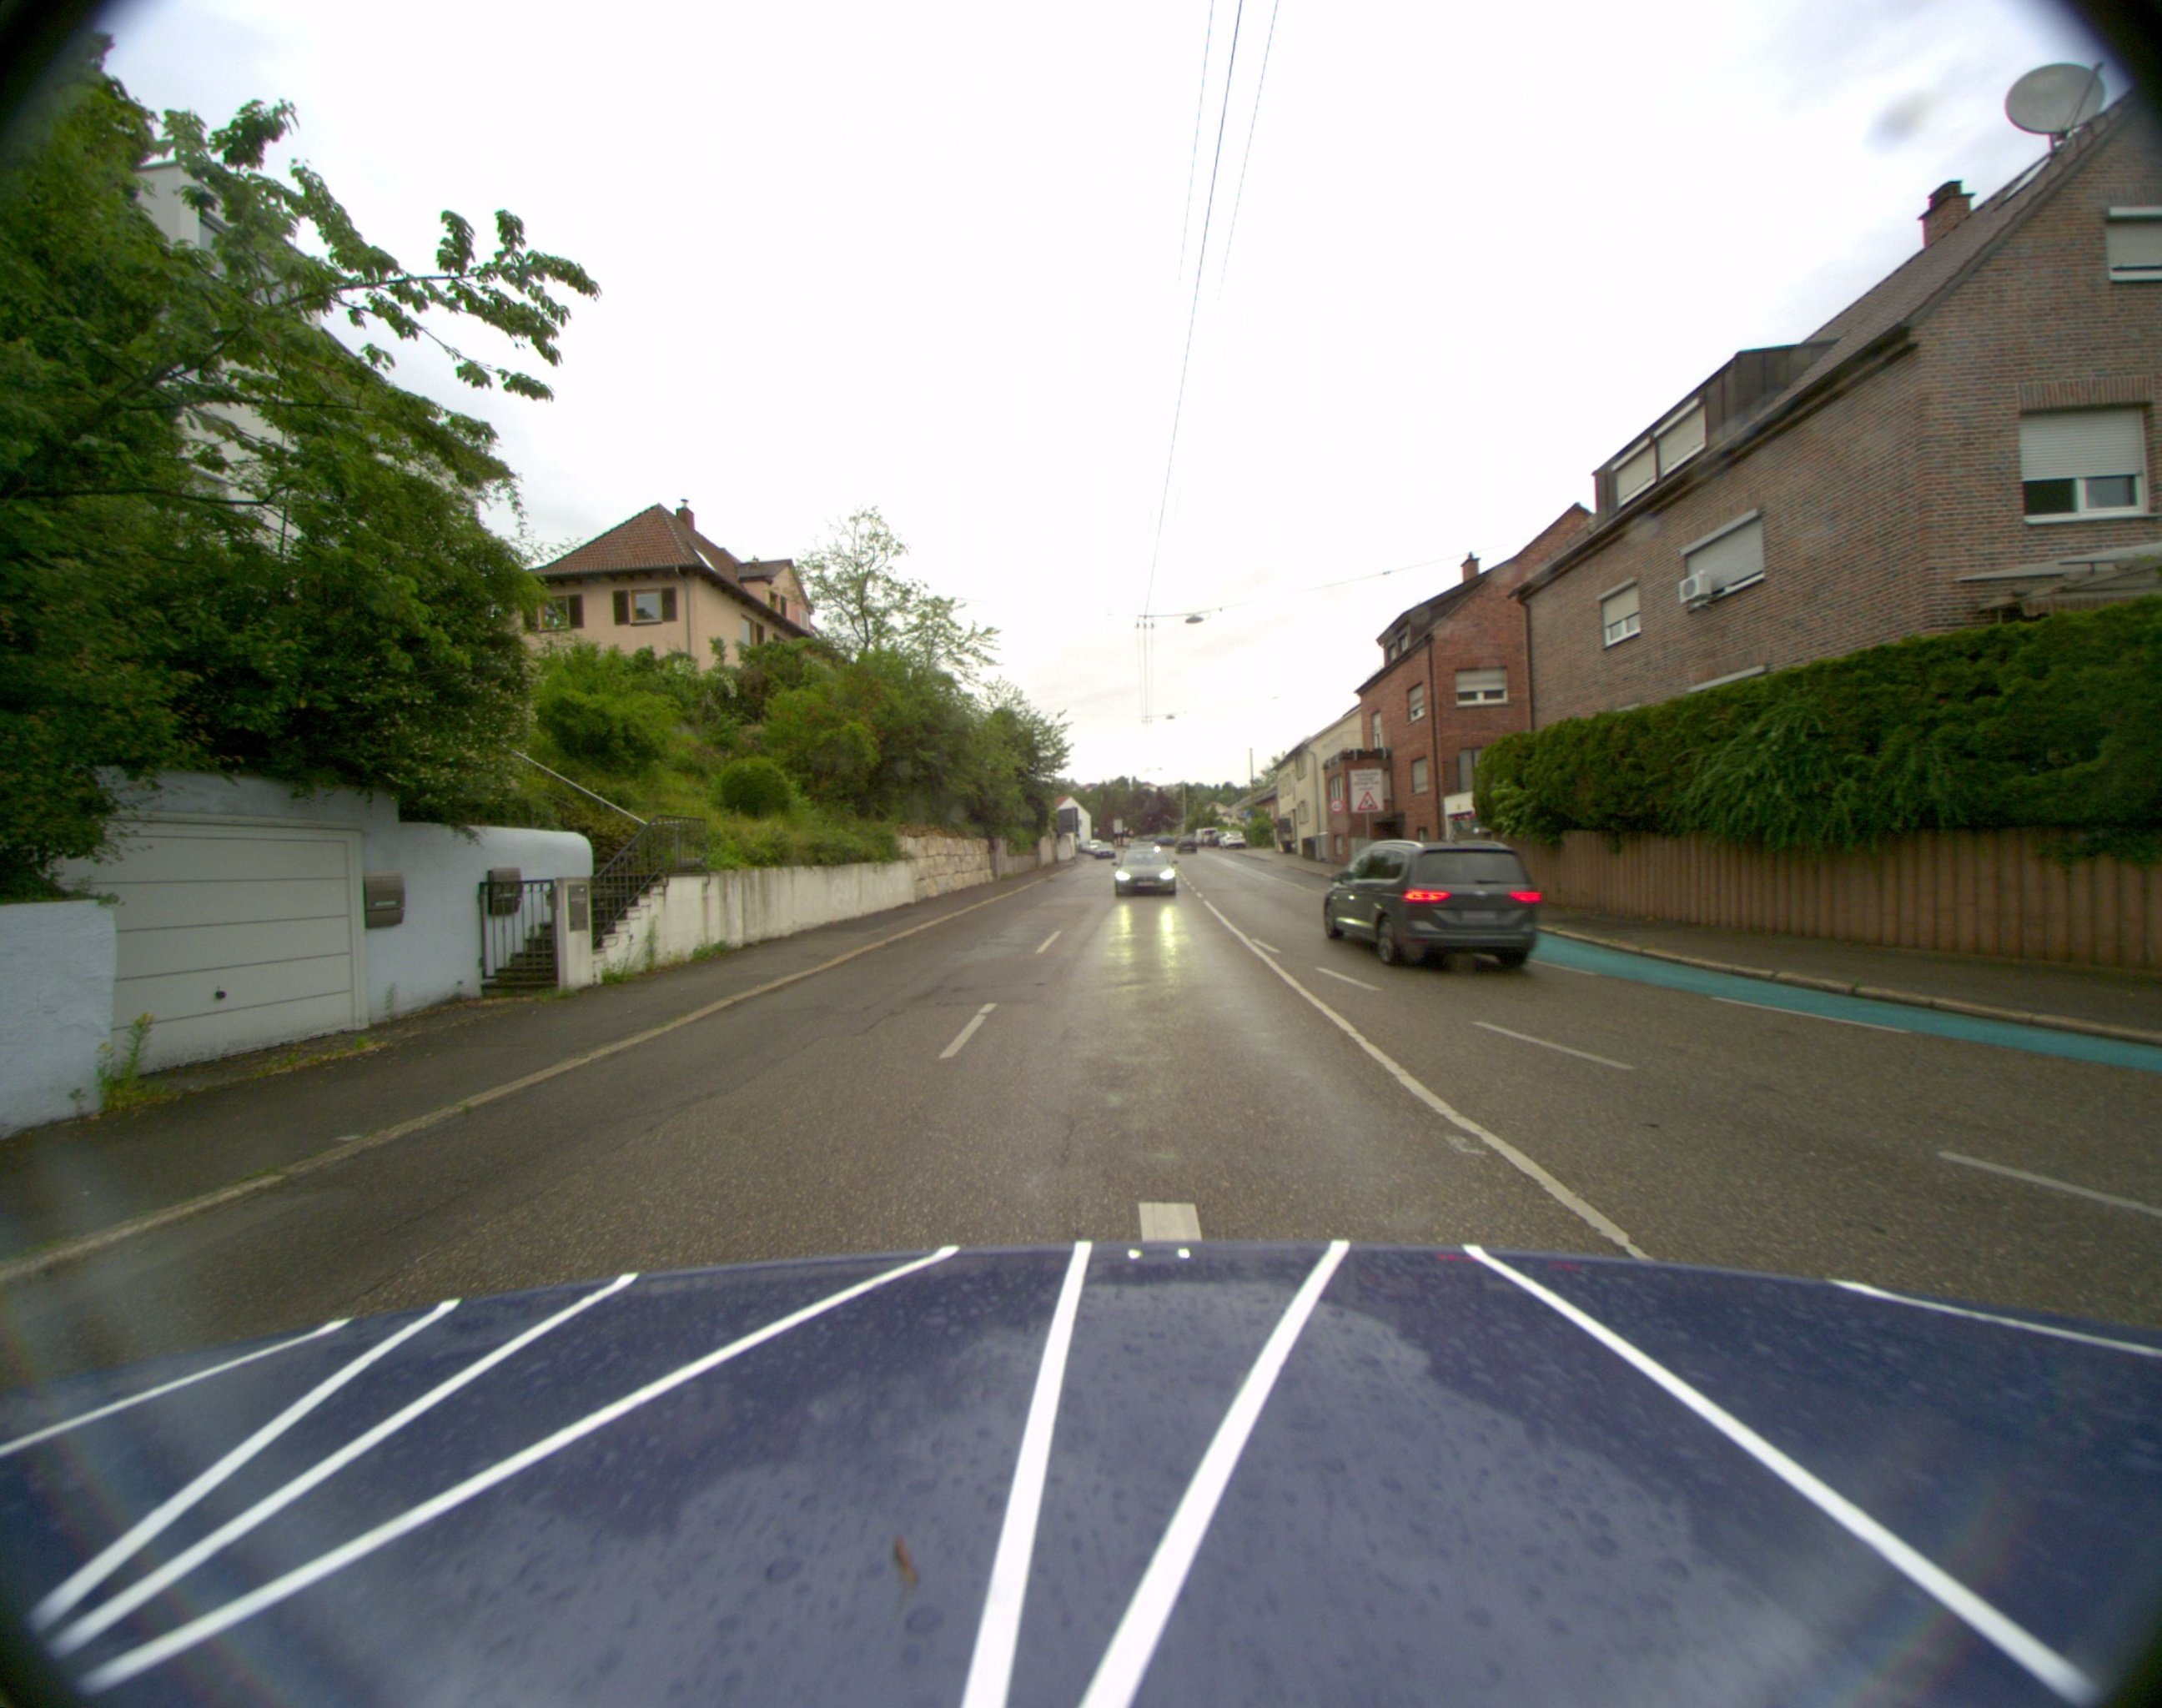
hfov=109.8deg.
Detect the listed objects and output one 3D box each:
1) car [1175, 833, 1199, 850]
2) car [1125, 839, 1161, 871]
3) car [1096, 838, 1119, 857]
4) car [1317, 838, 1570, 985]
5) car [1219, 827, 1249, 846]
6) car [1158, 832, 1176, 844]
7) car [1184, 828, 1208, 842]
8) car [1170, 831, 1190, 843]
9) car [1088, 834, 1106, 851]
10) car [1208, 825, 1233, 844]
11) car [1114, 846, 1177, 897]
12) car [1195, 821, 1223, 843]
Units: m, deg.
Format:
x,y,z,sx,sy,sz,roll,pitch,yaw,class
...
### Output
x,y,z,sx,sy,sz,roll,pitch,yaw,class
9.745,-1.177,70.143,1.920,1.438,3.718,-2,1,3,car
3.293,0.009,40.964,1.789,1.580,3.784,-2,1,3,car
2.550,-0.605,72.213,2.002,1.596,4.359,-2,-1,3,car
4.876,0.632,10.978,1.853,1.671,4.172,0,2,4,car
14.272,-1.646,71.180,1.946,1.557,4.262,-4,1,1,car
11.506,-2.111,101.929,1.624,1.482,3.900,-4,1,-5,car
13.699,-2.211,90.723,1.654,1.482,4.009,-4,1,-7,car
12.547,-2.122,96.497,1.654,1.388,3.859,-4,1,-5,car
1.850,-1.347,88.067,1.820,1.855,4.038,-2,2,-2,car
14.518,-2.005,79.332,1.815,1.793,4.262,-4,1,1,car
2.075,0.513,25.007,1.870,1.407,4.000,-2,1,3,car
14.318,-2.439,85.358,2.257,2.273,4.546,-4,1,-1,car
